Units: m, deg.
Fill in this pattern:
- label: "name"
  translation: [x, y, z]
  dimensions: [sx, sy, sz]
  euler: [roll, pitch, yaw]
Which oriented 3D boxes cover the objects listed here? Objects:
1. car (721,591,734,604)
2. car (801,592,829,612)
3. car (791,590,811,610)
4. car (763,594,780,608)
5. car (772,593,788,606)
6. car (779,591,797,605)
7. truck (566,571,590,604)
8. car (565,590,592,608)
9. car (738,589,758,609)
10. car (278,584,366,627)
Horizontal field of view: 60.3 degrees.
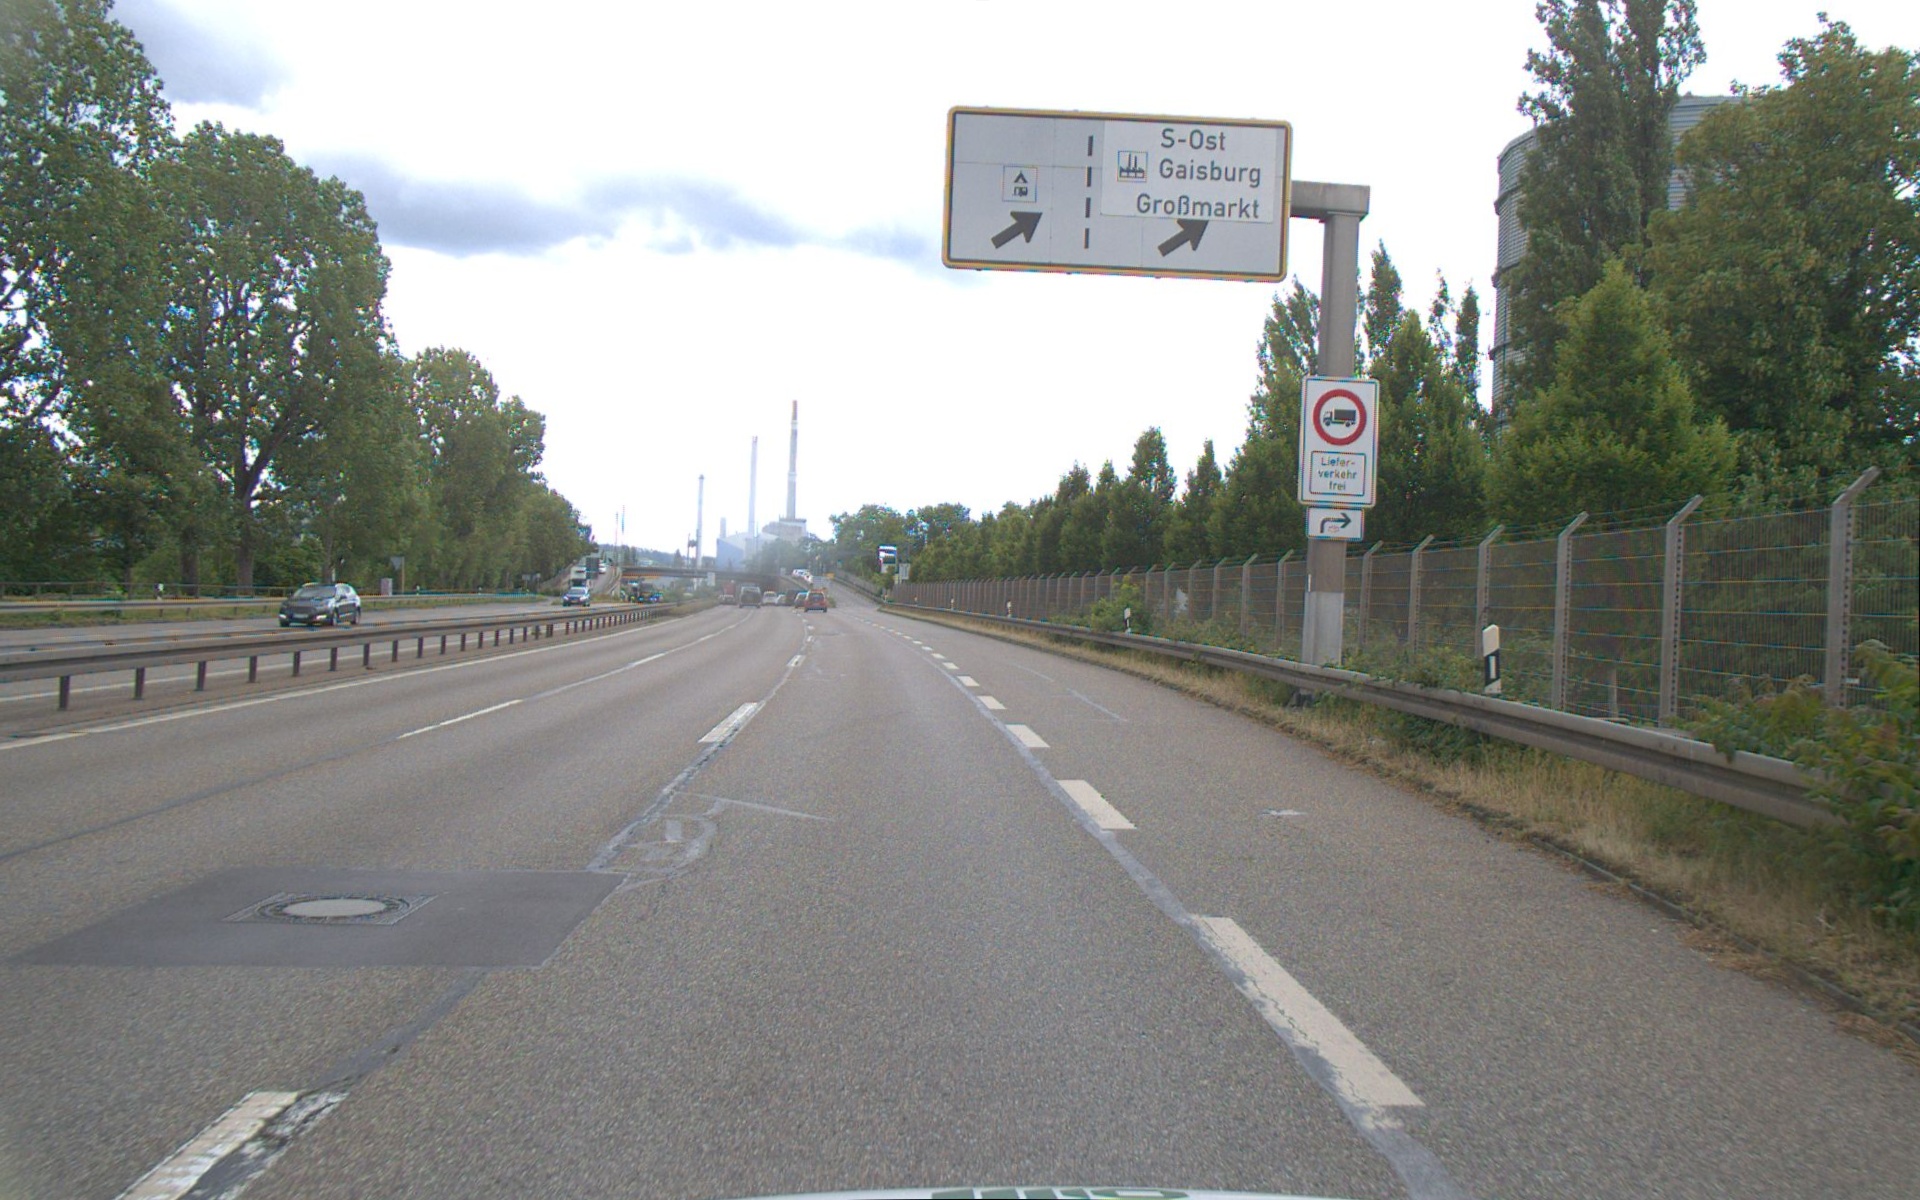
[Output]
- label: "car"
  translation: [-32.958, -0.391, 234.360]
  dimensions: [1.667, 1.772, 4.381]
  euler: [1, 0, -11]
- label: "car"
  translation: [-11.009, 0.170, 125.541]
  dimensions: [1.937, 1.448, 4.893]
  euler: [1, 0, -7]
- label: "car"
  translation: [-14.673, -0.017, 152.260]
  dimensions: [1.666, 1.772, 4.385]
  euler: [1, 0, -8]
- label: "car"
  translation: [-20.009, 0.116, 175.816]
  dimensions: [1.666, 1.414, 4.390]
  euler: [1, 0, -8]
- label: "car"
  translation: [-23.376, -0.070, 214.455]
  dimensions: [1.667, 1.582, 4.387]
  euler: [1, 0, -11]
- label: "car"
  translation: [-19.867, -0.210, 190.717]
  dimensions: [1.667, 1.582, 4.387]
  euler: [1, 0, -11]
- label: "truck"
  translation: [-52.555, -1.702, 227.776]
  dimensions: [2.838, 4.237, 14.615]
  euler: [3, 0, -12]
- label: "car"
  translation: [-30.354, -0.085, 131.722]
  dimensions: [1.666, 1.438, 4.630]
  euler: [1, 0, -8]
- label: "car"
  translation: [-18.996, -0.090, 148.302]
  dimensions: [1.665, 1.772, 3.994]
  euler: [1, 0, -7]
- label: "car"
  translation: [-22.419, 0.177, 58.278]
  dimensions: [1.664, 1.438, 4.633]
  euler: [1, 0, -5]
